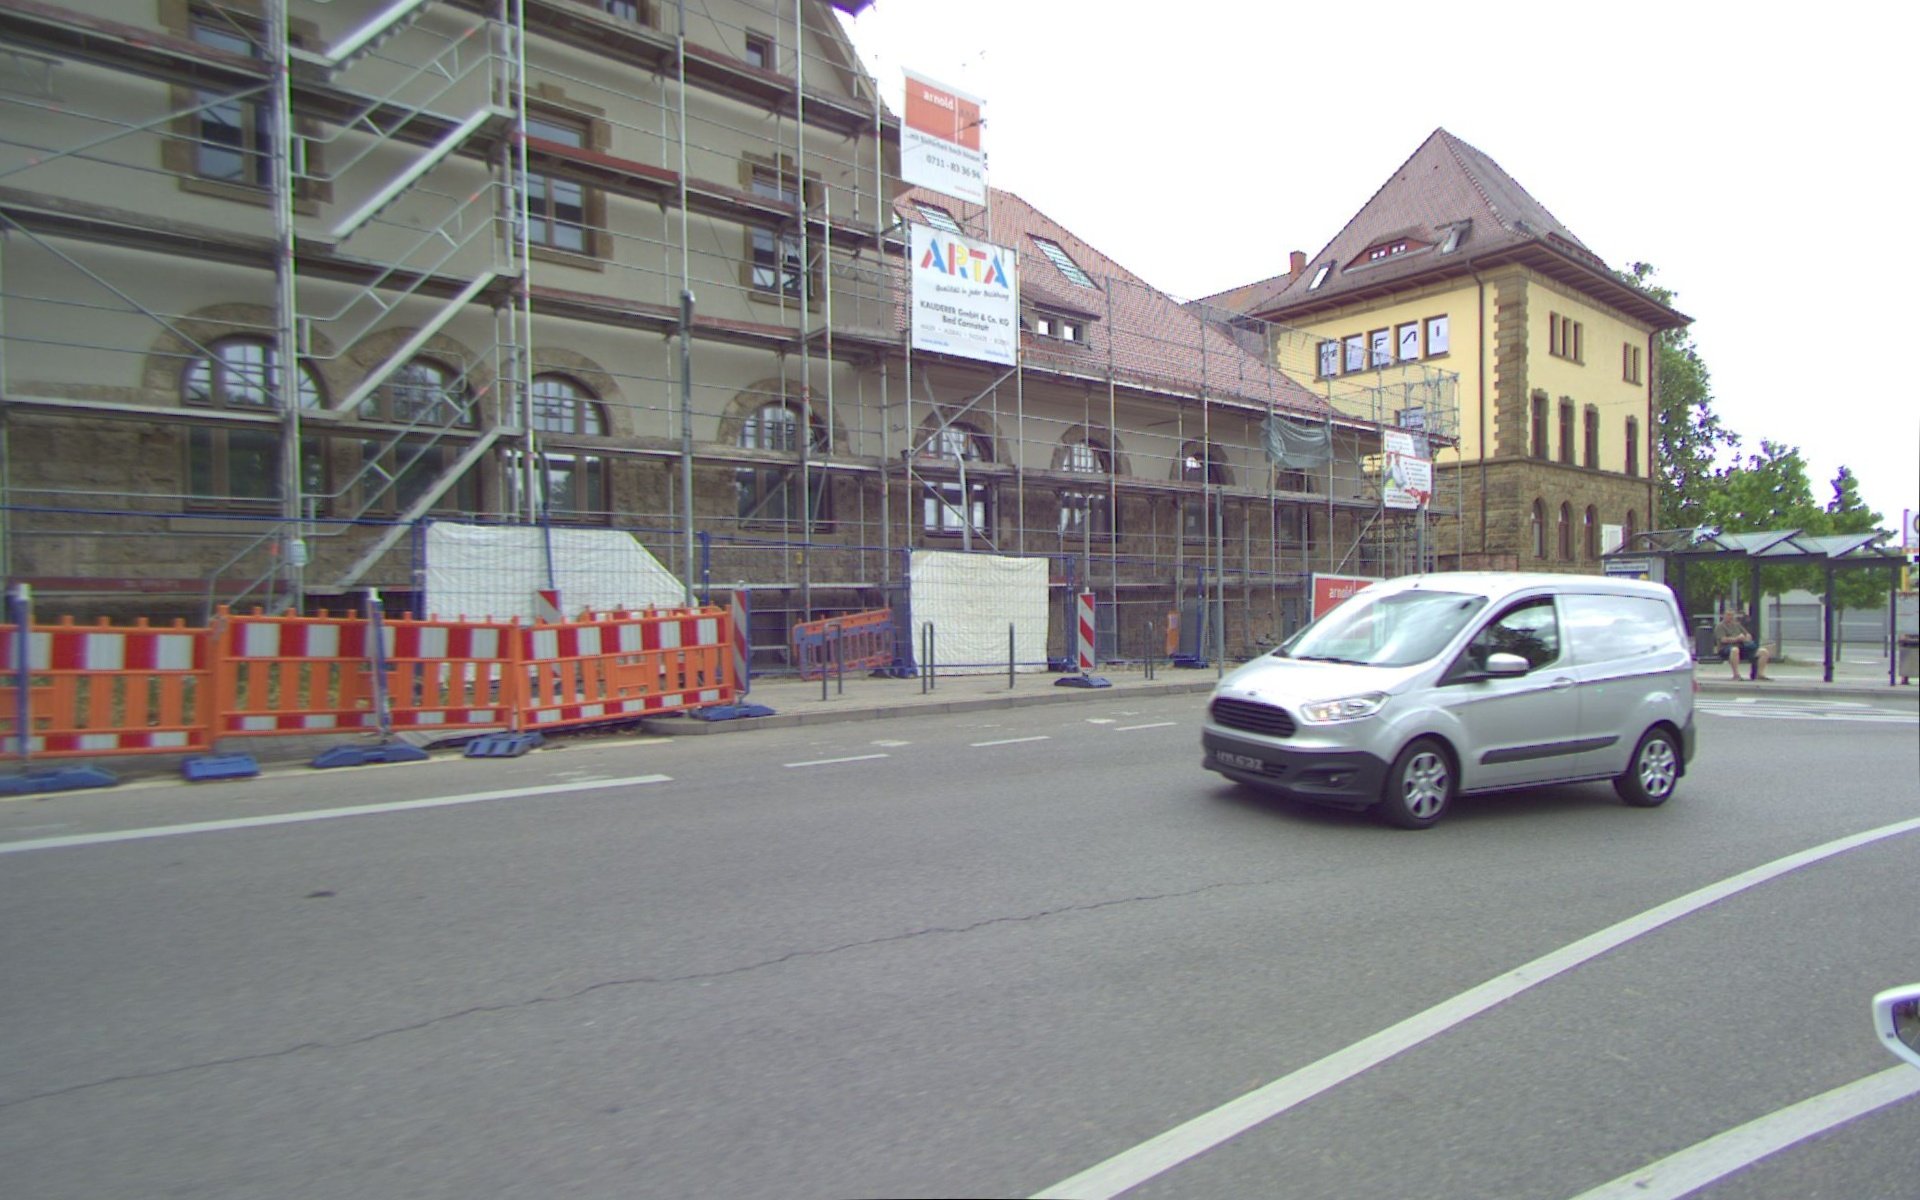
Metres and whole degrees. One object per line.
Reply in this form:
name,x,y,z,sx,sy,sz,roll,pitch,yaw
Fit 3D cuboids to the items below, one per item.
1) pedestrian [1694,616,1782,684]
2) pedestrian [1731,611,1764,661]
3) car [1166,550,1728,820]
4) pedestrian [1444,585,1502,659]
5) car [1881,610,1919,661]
pedestrian,14.939,0.945,19.302,0.889,1.208,0.934,2,1,-10
pedestrian,25.888,1.179,33.014,0.644,1.598,0.536,2,1,-23
car,3.760,0.568,7.697,4.029,1.635,1.687,2,1,-26
pedestrian,12.472,0.538,24.433,0.791,1.743,0.916,2,1,-35
car,40.684,1.563,40.342,1.969,2.040,5.070,2,1,-18
